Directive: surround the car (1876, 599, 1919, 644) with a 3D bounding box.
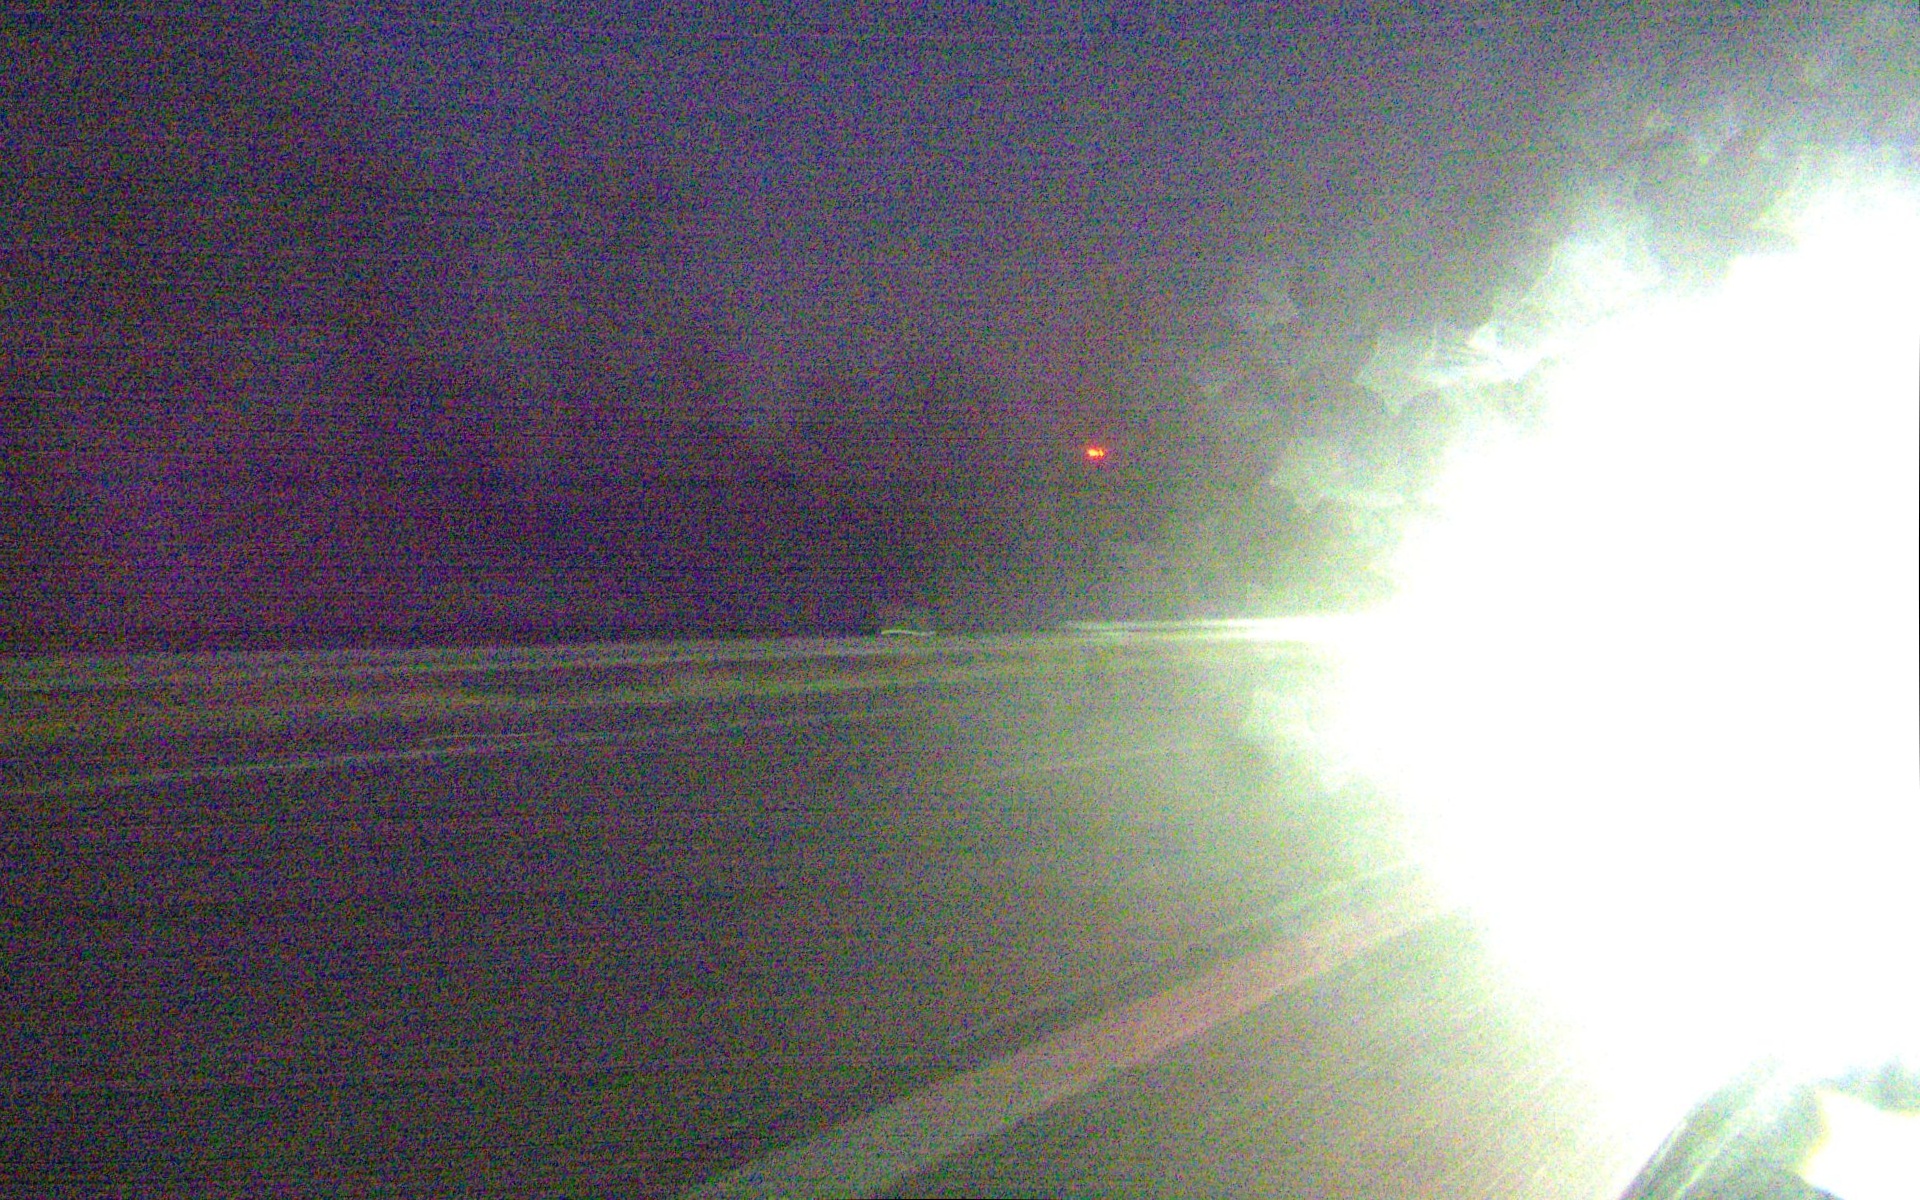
[{"bbox_3d":[38.473,0.827,40.869,3.931,1.712,1.790,-1,1,-42],"label":"car"}]

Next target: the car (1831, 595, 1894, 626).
[{"bbox_3d":[50.302,0.560,56.377,4.570,1.619,1.997,-1,1,-40],"label":"car"}]
